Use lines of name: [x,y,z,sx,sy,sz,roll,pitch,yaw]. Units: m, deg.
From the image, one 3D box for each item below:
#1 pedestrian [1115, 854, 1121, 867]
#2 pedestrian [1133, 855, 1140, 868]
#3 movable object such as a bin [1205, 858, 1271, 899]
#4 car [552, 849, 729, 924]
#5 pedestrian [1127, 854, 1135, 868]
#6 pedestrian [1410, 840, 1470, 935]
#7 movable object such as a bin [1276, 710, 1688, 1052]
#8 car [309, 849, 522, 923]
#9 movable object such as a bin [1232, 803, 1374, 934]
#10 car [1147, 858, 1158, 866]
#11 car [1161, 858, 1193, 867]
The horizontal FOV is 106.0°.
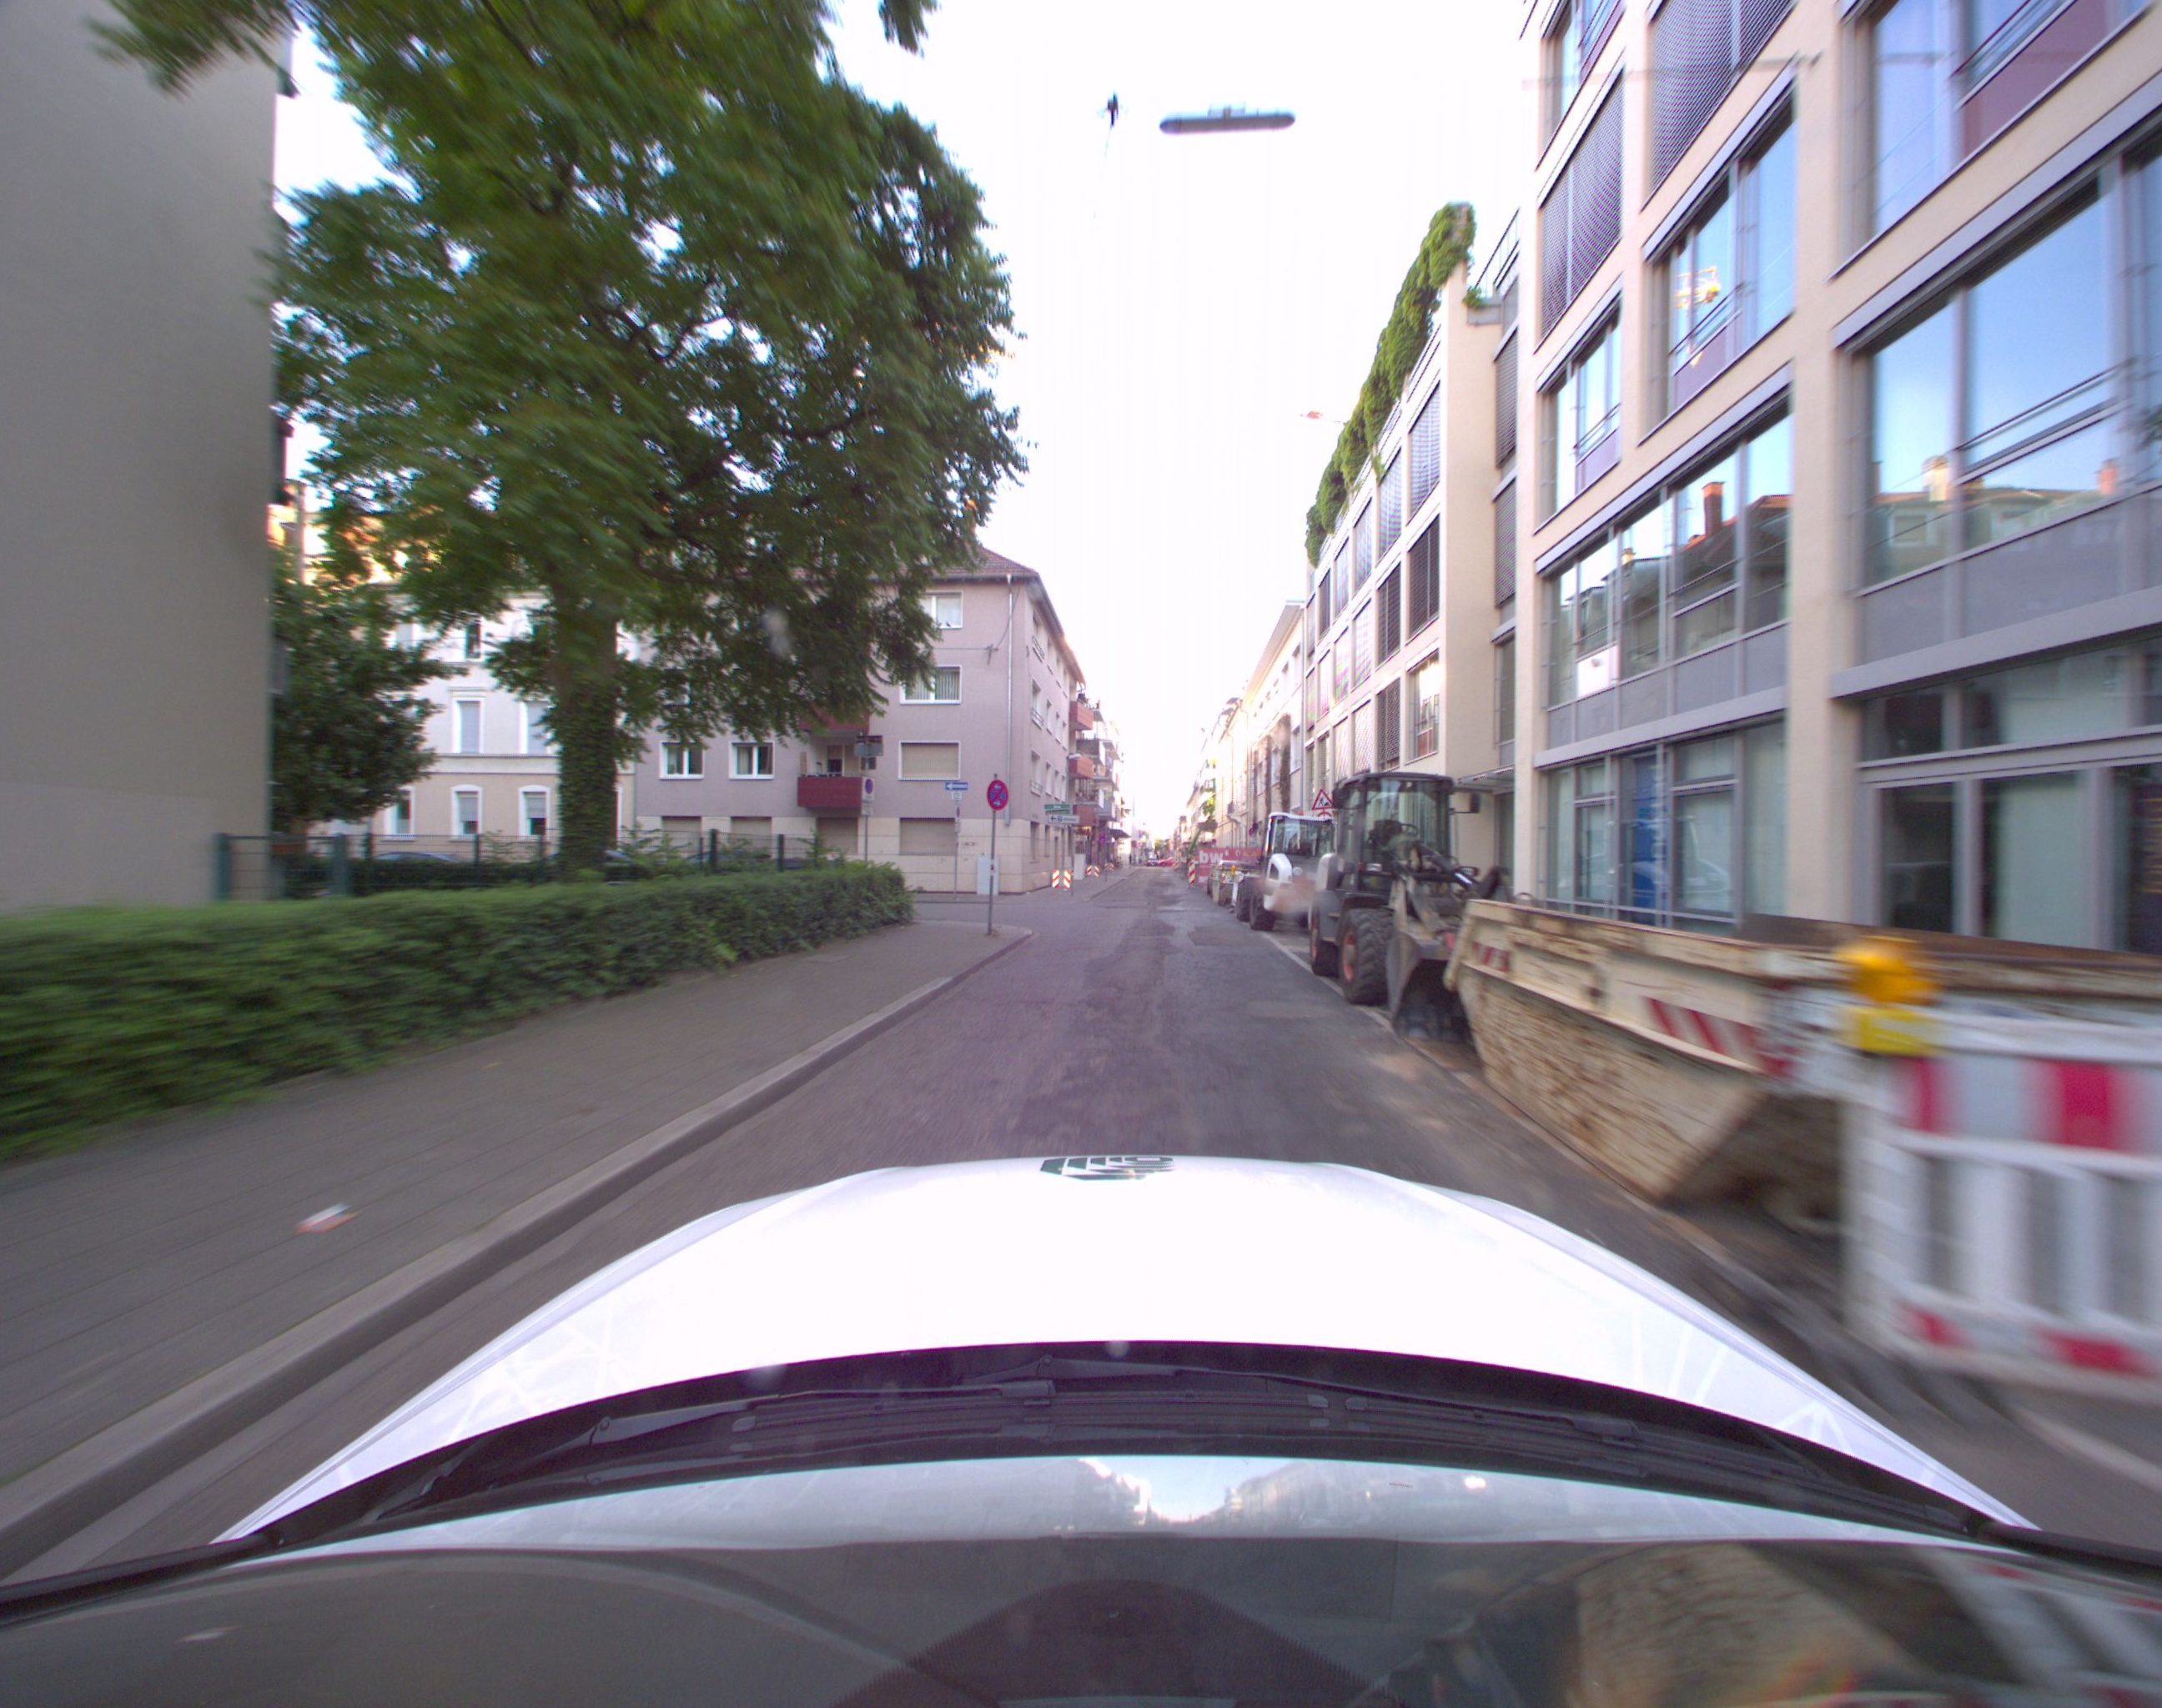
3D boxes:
pedestrian: [4.123,0.744,90.808,0.660,1.438,0.534,0,0,9]
pedestrian: [6.863,0.868,100.370,0.794,1.594,0.744,0,0,1]
movable object such as a bin: [5.992,0.891,31.413,2.037,1.411,3.979,0,0,4]
car: [-11.289,0.785,21.035,3.507,1.757,1.887,1,1,3]
pedestrian: [5.975,0.790,97.011,0.793,1.661,0.746,0,0,8]
pedestrian: [7.209,0.660,16.391,0.882,1.851,0.878,1,0,8]
movable object such as a bin: [3.848,0.196,9.294,2.266,2.692,5.655,0,0,4]
car: [-17.384,0.797,21.411,3.970,1.757,2.002,1,1,3]
movable object such as a bin: [4.718,0.281,17.957,2.267,2.540,4.102,0,0,4]
car: [11.102,1.240,126.523,1.530,1.134,3.123,0,0,2]
car: [12.903,1.119,109.593,3.956,1.233,2.009,0,0,16]
